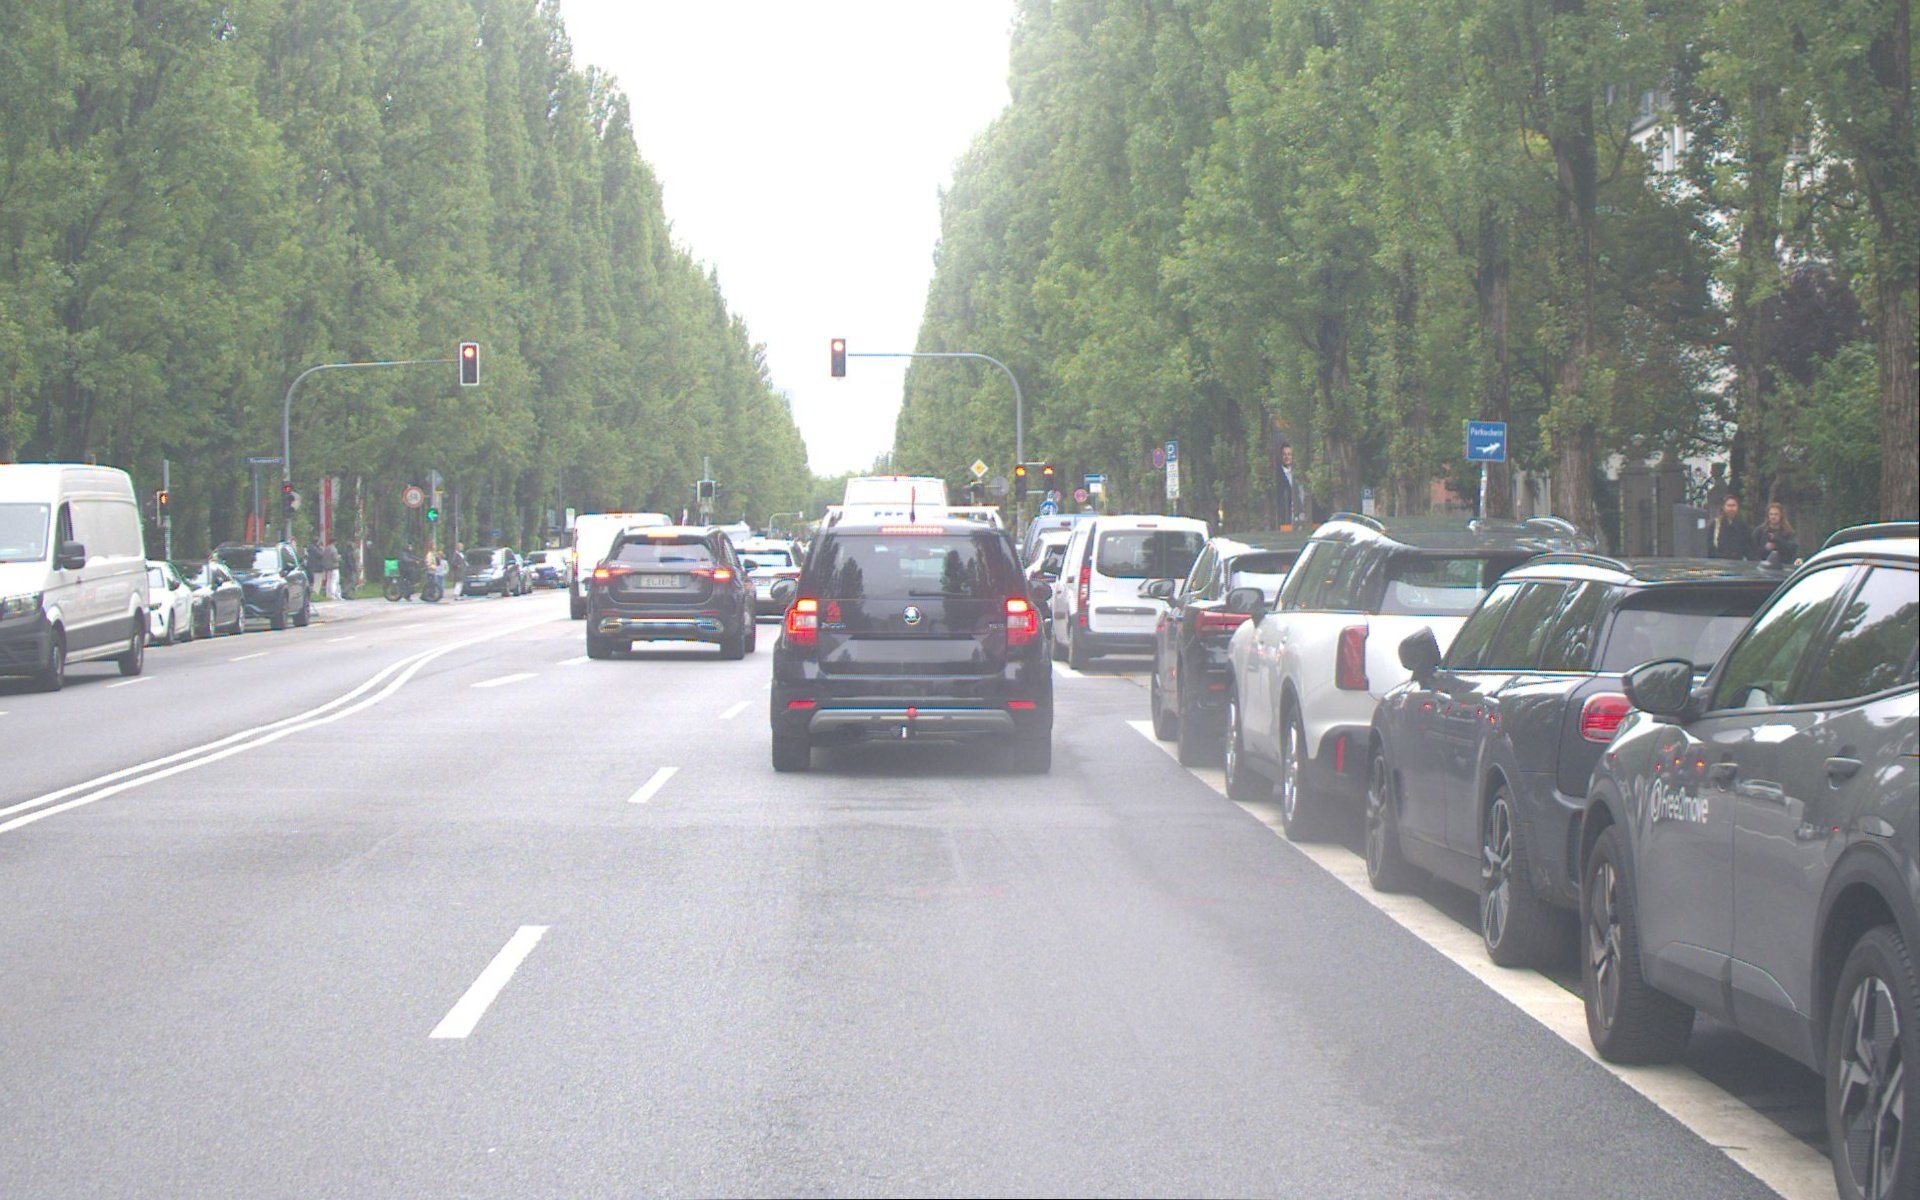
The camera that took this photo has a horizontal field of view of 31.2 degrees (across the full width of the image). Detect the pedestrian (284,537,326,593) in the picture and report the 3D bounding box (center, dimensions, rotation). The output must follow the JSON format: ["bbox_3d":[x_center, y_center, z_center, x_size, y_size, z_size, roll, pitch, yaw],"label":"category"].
[{"bbox_3d":[-19.439,-1.033,102.063,0.880,1.649,0.878,-2,1,-39],"label":"pedestrian"}]

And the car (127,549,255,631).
[{"bbox_3d":[-14.225,-0.212,63.792,1.623,1.384,4.167,-3,1,-4],"label":"car"}]

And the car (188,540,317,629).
[{"bbox_3d":[-14.311,-0.344,69.740,1.849,1.648,4.697,-3,1,-4],"label":"car"}]

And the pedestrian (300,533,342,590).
[{"bbox_3d":[-18.797,-1.140,101.148,0.880,1.649,0.878,-2,1,-39],"label":"pedestrian"}]

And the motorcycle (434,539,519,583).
[{"bbox_3d":[-14.308,-1.158,101.785,2.363,1.265,0.930,0,1,-1],"label":"motorcycle"}]

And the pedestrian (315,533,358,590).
[{"bbox_3d":[-18.217,-1.128,100.463,0.880,1.649,0.878,-2,1,-39],"label":"pedestrian"}]

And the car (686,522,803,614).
[{"bbox_3d":[-3.869,-0.601,62.378,1.993,1.555,4.001,-1,2,-2],"label":"car"}]

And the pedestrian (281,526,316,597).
[{"bbox_3d":[-14.662,-0.855,76.210,0.660,1.572,0.530,-1,1,0],"label":"pedestrian"}]

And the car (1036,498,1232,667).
[{"bbox_3d":[2.000,-0.252,40.660,1.851,1.875,4.169,-1,1,-3],"label":"car"}]

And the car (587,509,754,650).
[{"bbox_3d":[-3.595,-0.296,43.221,1.781,1.614,4.025,2,1,-1],"label":"car"}]

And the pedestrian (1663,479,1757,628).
[{"bbox_3d":[8.833,-0.548,40.536,0.853,1.711,0.867,-2,1,-1],"label":"pedestrian"}]

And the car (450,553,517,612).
[{"bbox_3d":[-15.250,-0.580,110.104,1.688,1.776,3.775,-1,1,-1],"label":"car"}]

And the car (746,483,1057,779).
[{"bbox_3d":[-0.395,0.150,22.960,1.855,1.764,4.000,1,1,-1],"label":"car"}]

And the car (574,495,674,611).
[{"bbox_3d":[-6.337,-0.905,65.104,1.781,2.104,4.025,0,1,-4],"label":"car"}]

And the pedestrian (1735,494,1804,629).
[{"bbox_3d":[9.569,-0.458,40.673,0.567,1.573,0.867,-1,1,-1],"label":"pedestrian"}]

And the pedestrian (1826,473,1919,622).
[{"bbox_3d":[11.103,-0.635,41.747,0.799,1.775,0.821,-1,1,-18],"label":"pedestrian"}]

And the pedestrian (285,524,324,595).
[{"bbox_3d":[-18.810,-1.172,98.668,0.885,2.007,1.013,-1,1,2],"label":"pedestrian"}]

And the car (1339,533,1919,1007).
[{"bbox_3d":[2.626,0.519,13.473,1.702,1.514,4.295,-1,1,-1],"label":"car"}]

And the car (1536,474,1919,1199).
[{"bbox_3d":[2.752,0.506,8.445,1.783,1.612,4.638,-1,1,-1],"label":"car"}]

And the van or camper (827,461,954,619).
[{"bbox_3d":[-1.208,-1.031,57.854,1.975,2.539,4.025,-1,1,-3],"label":"van or camper"}]

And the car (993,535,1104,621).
[{"bbox_3d":[1.491,-0.399,59.011,1.735,1.382,3.563,-1,1,-1],"label":"car"}]

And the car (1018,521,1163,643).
[{"bbox_3d":[1.768,-0.289,47.699,1.741,1.587,4.212,-1,1,-1],"label":"car"}]

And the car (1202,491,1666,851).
[{"bbox_3d":[2.384,0.275,18.399,1.742,1.670,4.580,-1,1,-1],"label":"car"}]

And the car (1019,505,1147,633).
[{"bbox_3d":[1.863,-0.512,53.141,1.735,1.888,4.025,-1,1,-1],"label":"car"}]

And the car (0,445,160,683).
[{"bbox_3d":[-10.931,-0.414,39.345,2.227,2.475,6.759,-2,1,-3],"label":"car"}]

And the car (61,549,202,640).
[{"bbox_3d":[-13.987,-0.119,58.238,1.623,1.384,4.168,-3,1,-5],"label":"car"}]

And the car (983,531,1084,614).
[{"bbox_3d":[1.351,-0.537,64.514,1.735,1.470,3.563,-1,1,-1],"label":"car"}]

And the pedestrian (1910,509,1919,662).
[{"bbox_3d":[11.832,-0.167,40.491,0.901,1.794,0.831,-2,4,-22],"label":"pedestrian"}]

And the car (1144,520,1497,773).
[{"bbox_3d":[2.355,0.235,23.522,1.880,1.535,4.464,-1,1,-1],"label":"car"}]
